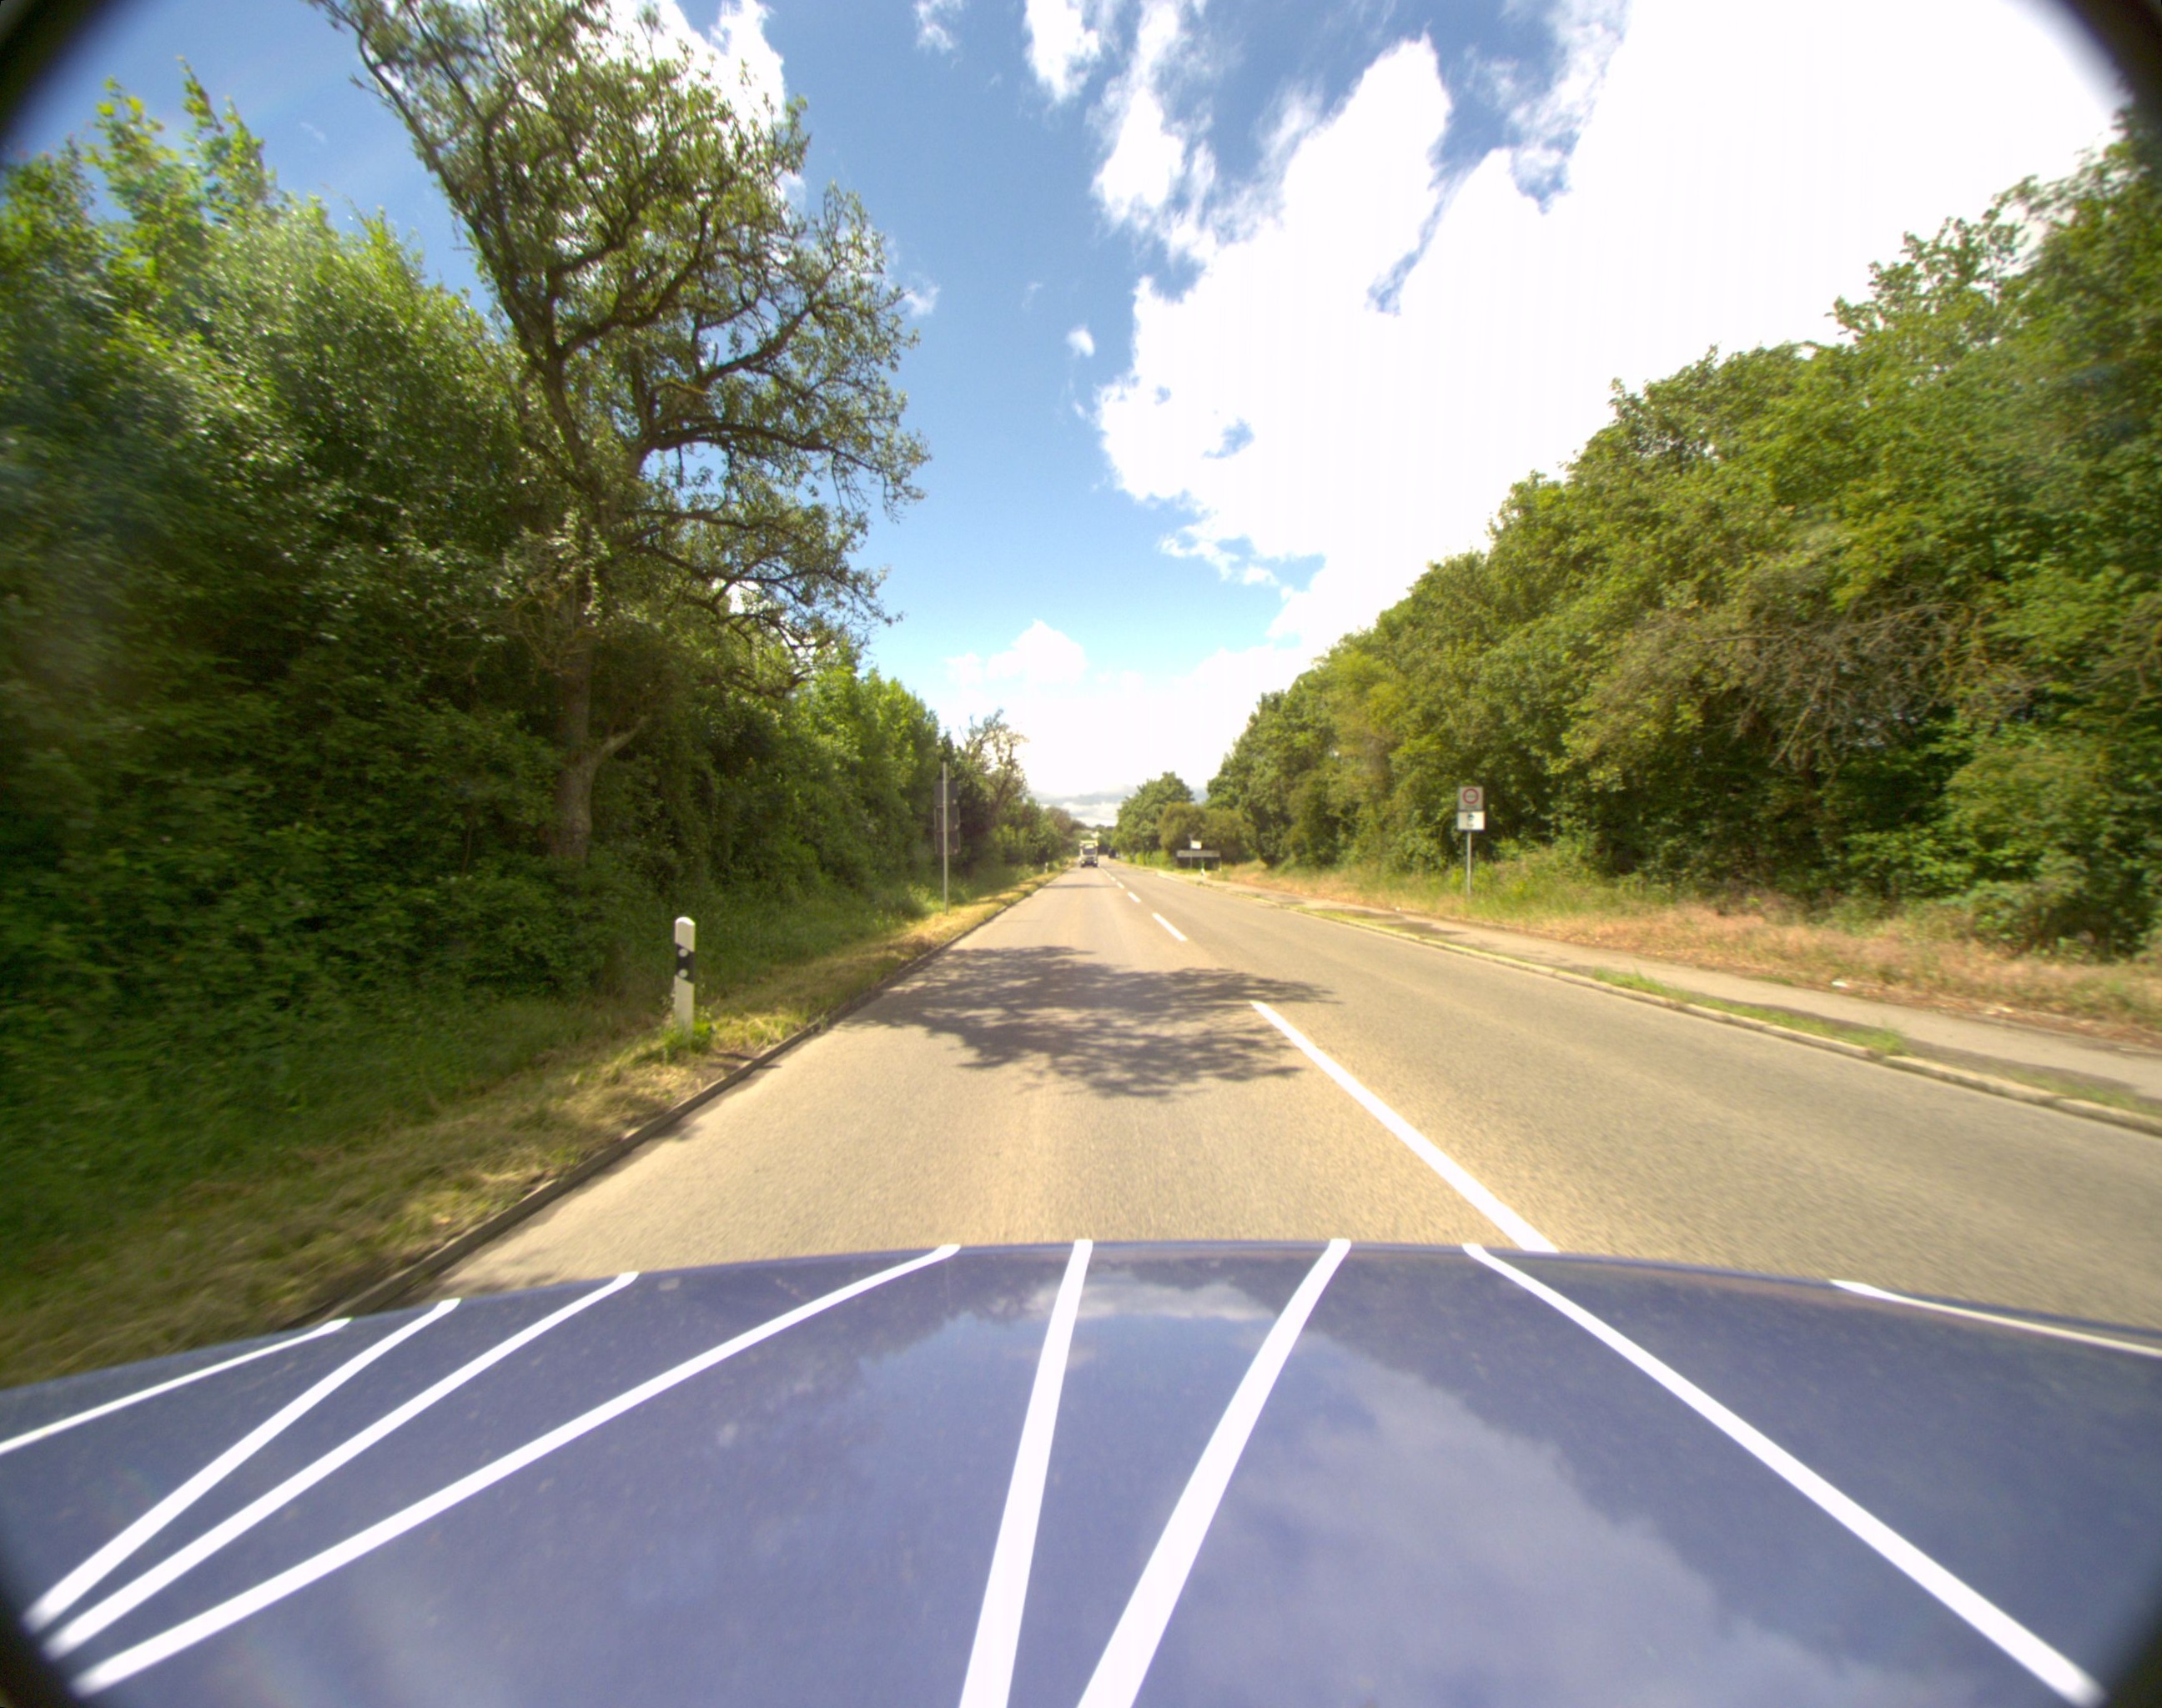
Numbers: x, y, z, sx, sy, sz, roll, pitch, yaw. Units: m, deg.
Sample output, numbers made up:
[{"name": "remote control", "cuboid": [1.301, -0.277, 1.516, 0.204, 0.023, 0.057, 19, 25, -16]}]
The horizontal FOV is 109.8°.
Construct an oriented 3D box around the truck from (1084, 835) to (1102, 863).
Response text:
[{"name": "truck", "cuboid": [1.665, -0.687, 108.598, 2.306, 3.790, 8.182, -2, 1, 1]}]
